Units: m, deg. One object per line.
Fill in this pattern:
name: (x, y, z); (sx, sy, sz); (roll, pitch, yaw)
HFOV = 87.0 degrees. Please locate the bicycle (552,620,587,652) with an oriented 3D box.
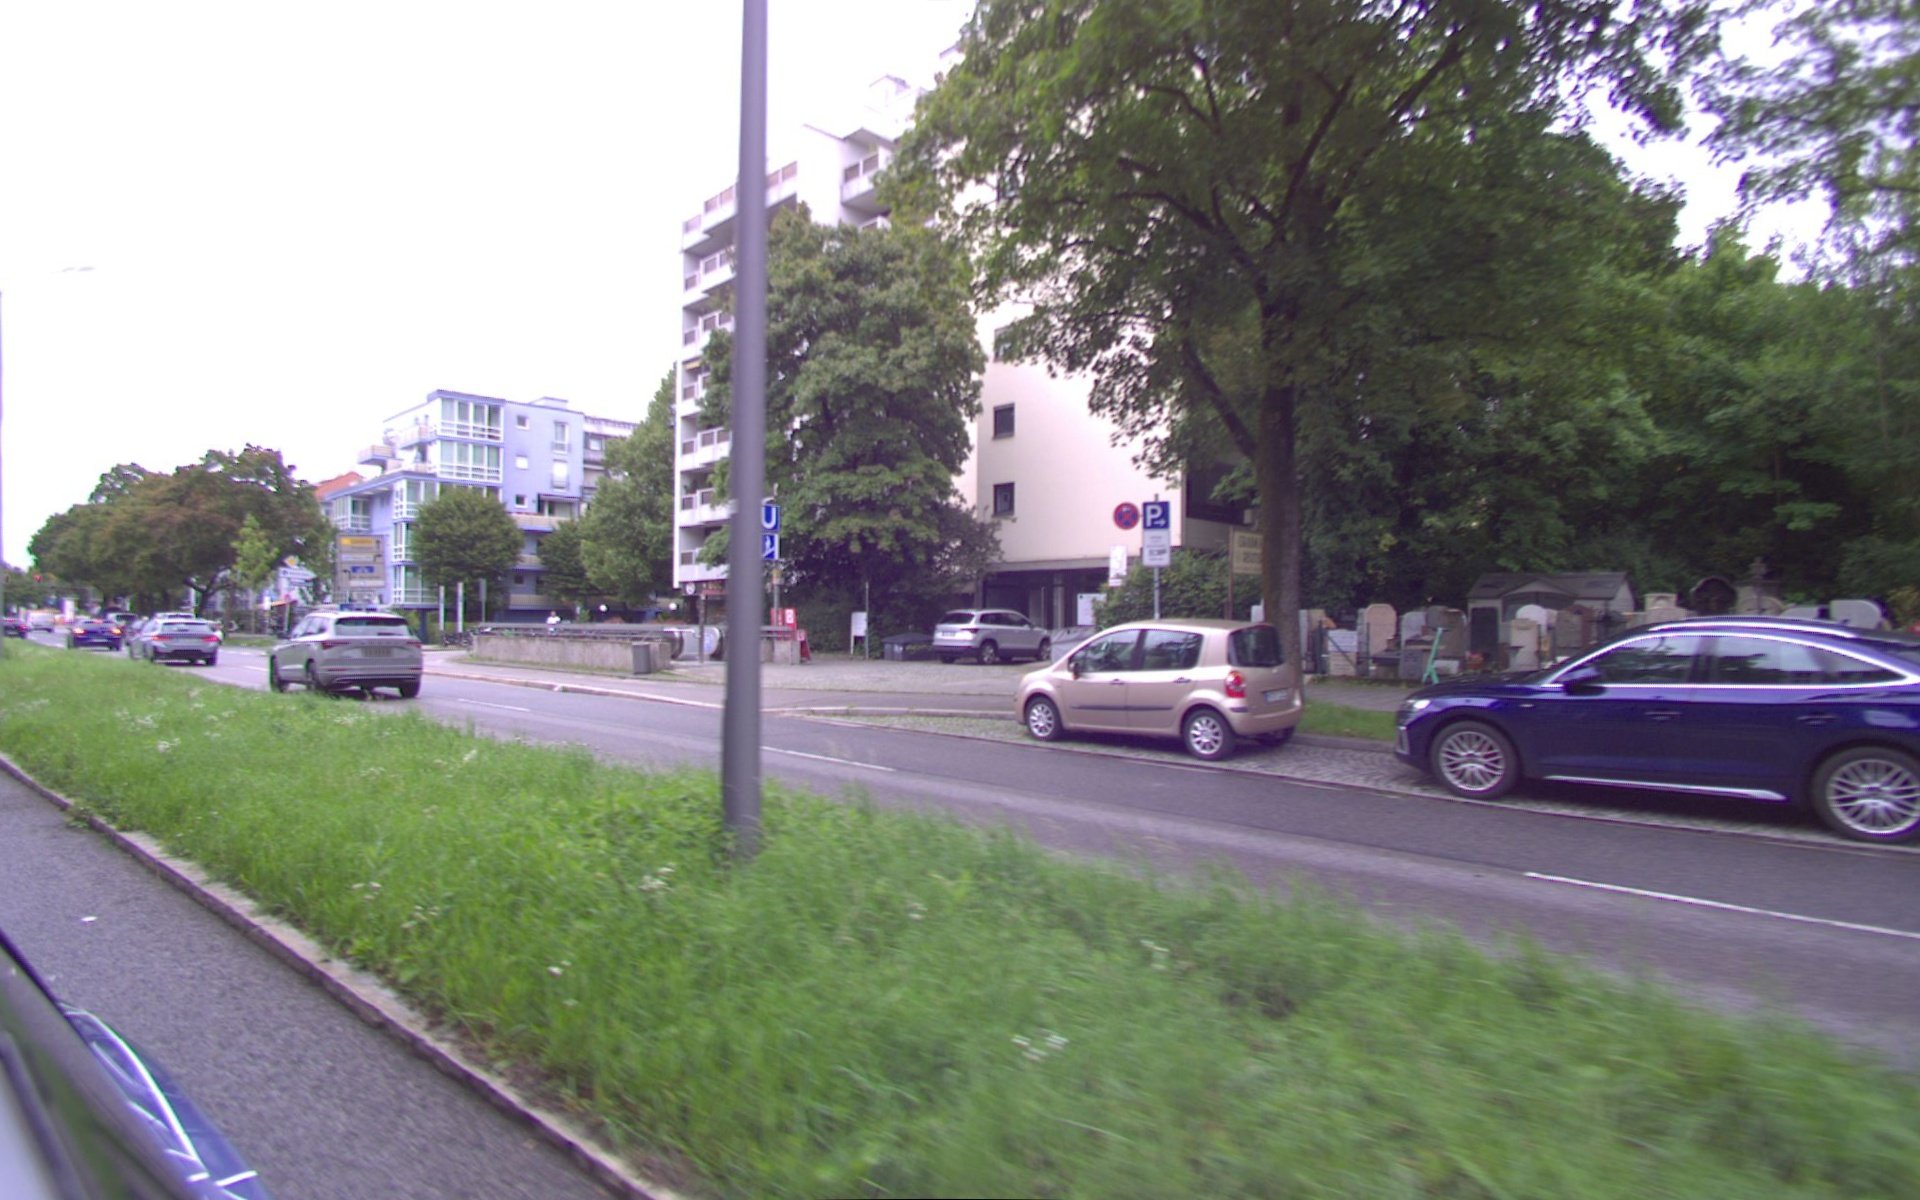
bicycle: (-13.931, 1.275, 36.104); (0.403, 1.105, 1.956); (-4, 2, -44)

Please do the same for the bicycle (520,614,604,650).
bicycle: (-17.255, 1.370, 44.001); (3.288, 1.292, 0.789); (-4, 2, -43)

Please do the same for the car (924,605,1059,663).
car: (0.975, 0.992, 29.719); (3.941, 1.601, 1.750); (2, -2, -45)

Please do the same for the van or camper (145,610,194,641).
van or camper: (-52.736, 1.708, 67.457); (5.212, 1.983, 1.785); (-1, -2, 44)

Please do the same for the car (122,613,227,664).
car: (-25.006, 1.175, 32.150); (4.865, 1.495, 1.894); (-1, -2, 43)

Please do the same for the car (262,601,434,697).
car: (-11.773, 0.882, 19.343); (4.378, 1.637, 1.746); (-1, -2, 44)

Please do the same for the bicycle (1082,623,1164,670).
bicycle: (3.946, 1.112, 24.626); (2.033, 1.107, 0.572); (-1, -2, 45)

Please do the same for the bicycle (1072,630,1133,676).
bicycle: (3.238, 1.180, 22.907); (0.436, 1.014, 1.742); (-1, -2, 43)

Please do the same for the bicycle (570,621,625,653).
bicycle: (-14.279, 1.448, 39.859); (1.925, 1.111, 0.560); (-4, 2, -43)

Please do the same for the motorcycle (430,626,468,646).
motorcycle: (-30.587, 2.157, 60.588); (2.461, 1.141, 0.494); (0, -2, 22)

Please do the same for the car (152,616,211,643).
car: (-48.976, 1.850, 63.639); (4.655, 1.628, 1.683); (0, -2, 36)

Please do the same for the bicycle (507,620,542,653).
bicycle: (-14.981, 1.250, 34.796); (0.403, 1.080, 1.956); (-4, 2, -44)

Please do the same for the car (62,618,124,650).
car: (-39.778, 1.529, 46.414); (3.967, 1.413, 1.673); (-1, -2, 43)

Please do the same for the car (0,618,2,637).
car: (-76.245, 2.109, 79.030); (4.260, 1.491, 1.935); (-1, -2, 45)

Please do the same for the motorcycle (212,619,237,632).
motorcycle: (-68.379, 2.390, 94.077); (0.463, 1.179, 1.791); (-1, -2, 39)

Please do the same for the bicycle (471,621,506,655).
bicycle: (-15.821, 1.265, 33.925); (0.403, 1.086, 1.956); (-4, 2, -44)

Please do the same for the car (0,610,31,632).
car: (-63.173, 1.384, 67.212); (4.101, 1.416, 1.763); (-1, -2, 42)

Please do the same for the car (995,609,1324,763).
car: (2.388, 0.940, 12.763); (1.628, 1.626, 3.821); (0, 0, -44)

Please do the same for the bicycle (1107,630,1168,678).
bicycle: (3.939, 1.176, 22.384); (0.436, 1.014, 1.742); (-1, -2, 43)

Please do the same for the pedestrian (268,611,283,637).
pedestrian: (-47.703, 1.676, 70.517); (0.779, 1.819, 0.635); (-1, -2, 42)

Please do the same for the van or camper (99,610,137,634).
van or camper: (-71.257, 1.850, 85.603); (4.706, 1.957, 1.998); (-1, -2, 44)

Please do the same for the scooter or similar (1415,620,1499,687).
scooter or similar: (8.754, 0.928, 17.858); (0.429, 1.135, 1.293); (1, -2, -33)

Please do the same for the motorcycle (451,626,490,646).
motorcycle: (-29.711, 2.195, 61.399); (2.457, 1.141, 0.495); (0, -2, 17)

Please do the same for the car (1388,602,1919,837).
car: (6.414, 0.867, 8.764); (4.686, 1.656, 1.719); (-1, 0, 44)

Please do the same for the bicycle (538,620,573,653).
bicycle: (-14.280, 1.290, 35.728); (0.403, 1.112, 1.956); (-4, 2, -44)

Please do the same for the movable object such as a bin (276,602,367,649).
movable object such as a bin: (-28.209, 1.118, 44.668); (3.995, 1.968, 2.172); (-1, -2, 38)

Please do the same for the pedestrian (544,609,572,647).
pedestrian: (-18.262, 1.265, 45.988); (1.129, 1.721, 0.662); (-1, -2, 38)

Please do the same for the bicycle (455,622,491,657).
bicycle: (-16.145, 1.292, 33.519); (0.403, 1.097, 2.086); (-4, 2, -43)

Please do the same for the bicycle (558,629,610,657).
bicycle: (-15.174, 1.739, 40.845); (1.924, 1.112, 0.490); (2, -2, -43)

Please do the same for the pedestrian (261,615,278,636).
pedestrian: (-54.522, 2.039, 79.899); (0.767, 1.615, 0.962); (-1, -2, 42)

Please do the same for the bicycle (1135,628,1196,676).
bicycle: (4.490, 1.118, 22.053); (0.436, 1.014, 1.742); (-1, -2, 43)

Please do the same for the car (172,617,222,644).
car: (-45.456, 1.812, 60.291); (3.901, 1.501, 1.629); (-1, -2, 42)

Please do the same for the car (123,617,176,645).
car: (-44.069, 1.681, 54.982); (3.967, 1.495, 1.673); (-1, -2, 43)

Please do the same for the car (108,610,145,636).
car: (-66.991, 1.875, 81.321); (4.548, 2.013, 1.776); (-1, -2, 44)

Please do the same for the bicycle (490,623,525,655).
bicycle: (-15.393, 1.311, 34.438); (0.403, 1.048, 1.956); (-4, 2, -44)

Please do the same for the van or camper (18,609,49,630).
van or camper: (-94.321, 1.980, 103.025); (5.200, 2.031, 1.993); (-1, -2, 44)
